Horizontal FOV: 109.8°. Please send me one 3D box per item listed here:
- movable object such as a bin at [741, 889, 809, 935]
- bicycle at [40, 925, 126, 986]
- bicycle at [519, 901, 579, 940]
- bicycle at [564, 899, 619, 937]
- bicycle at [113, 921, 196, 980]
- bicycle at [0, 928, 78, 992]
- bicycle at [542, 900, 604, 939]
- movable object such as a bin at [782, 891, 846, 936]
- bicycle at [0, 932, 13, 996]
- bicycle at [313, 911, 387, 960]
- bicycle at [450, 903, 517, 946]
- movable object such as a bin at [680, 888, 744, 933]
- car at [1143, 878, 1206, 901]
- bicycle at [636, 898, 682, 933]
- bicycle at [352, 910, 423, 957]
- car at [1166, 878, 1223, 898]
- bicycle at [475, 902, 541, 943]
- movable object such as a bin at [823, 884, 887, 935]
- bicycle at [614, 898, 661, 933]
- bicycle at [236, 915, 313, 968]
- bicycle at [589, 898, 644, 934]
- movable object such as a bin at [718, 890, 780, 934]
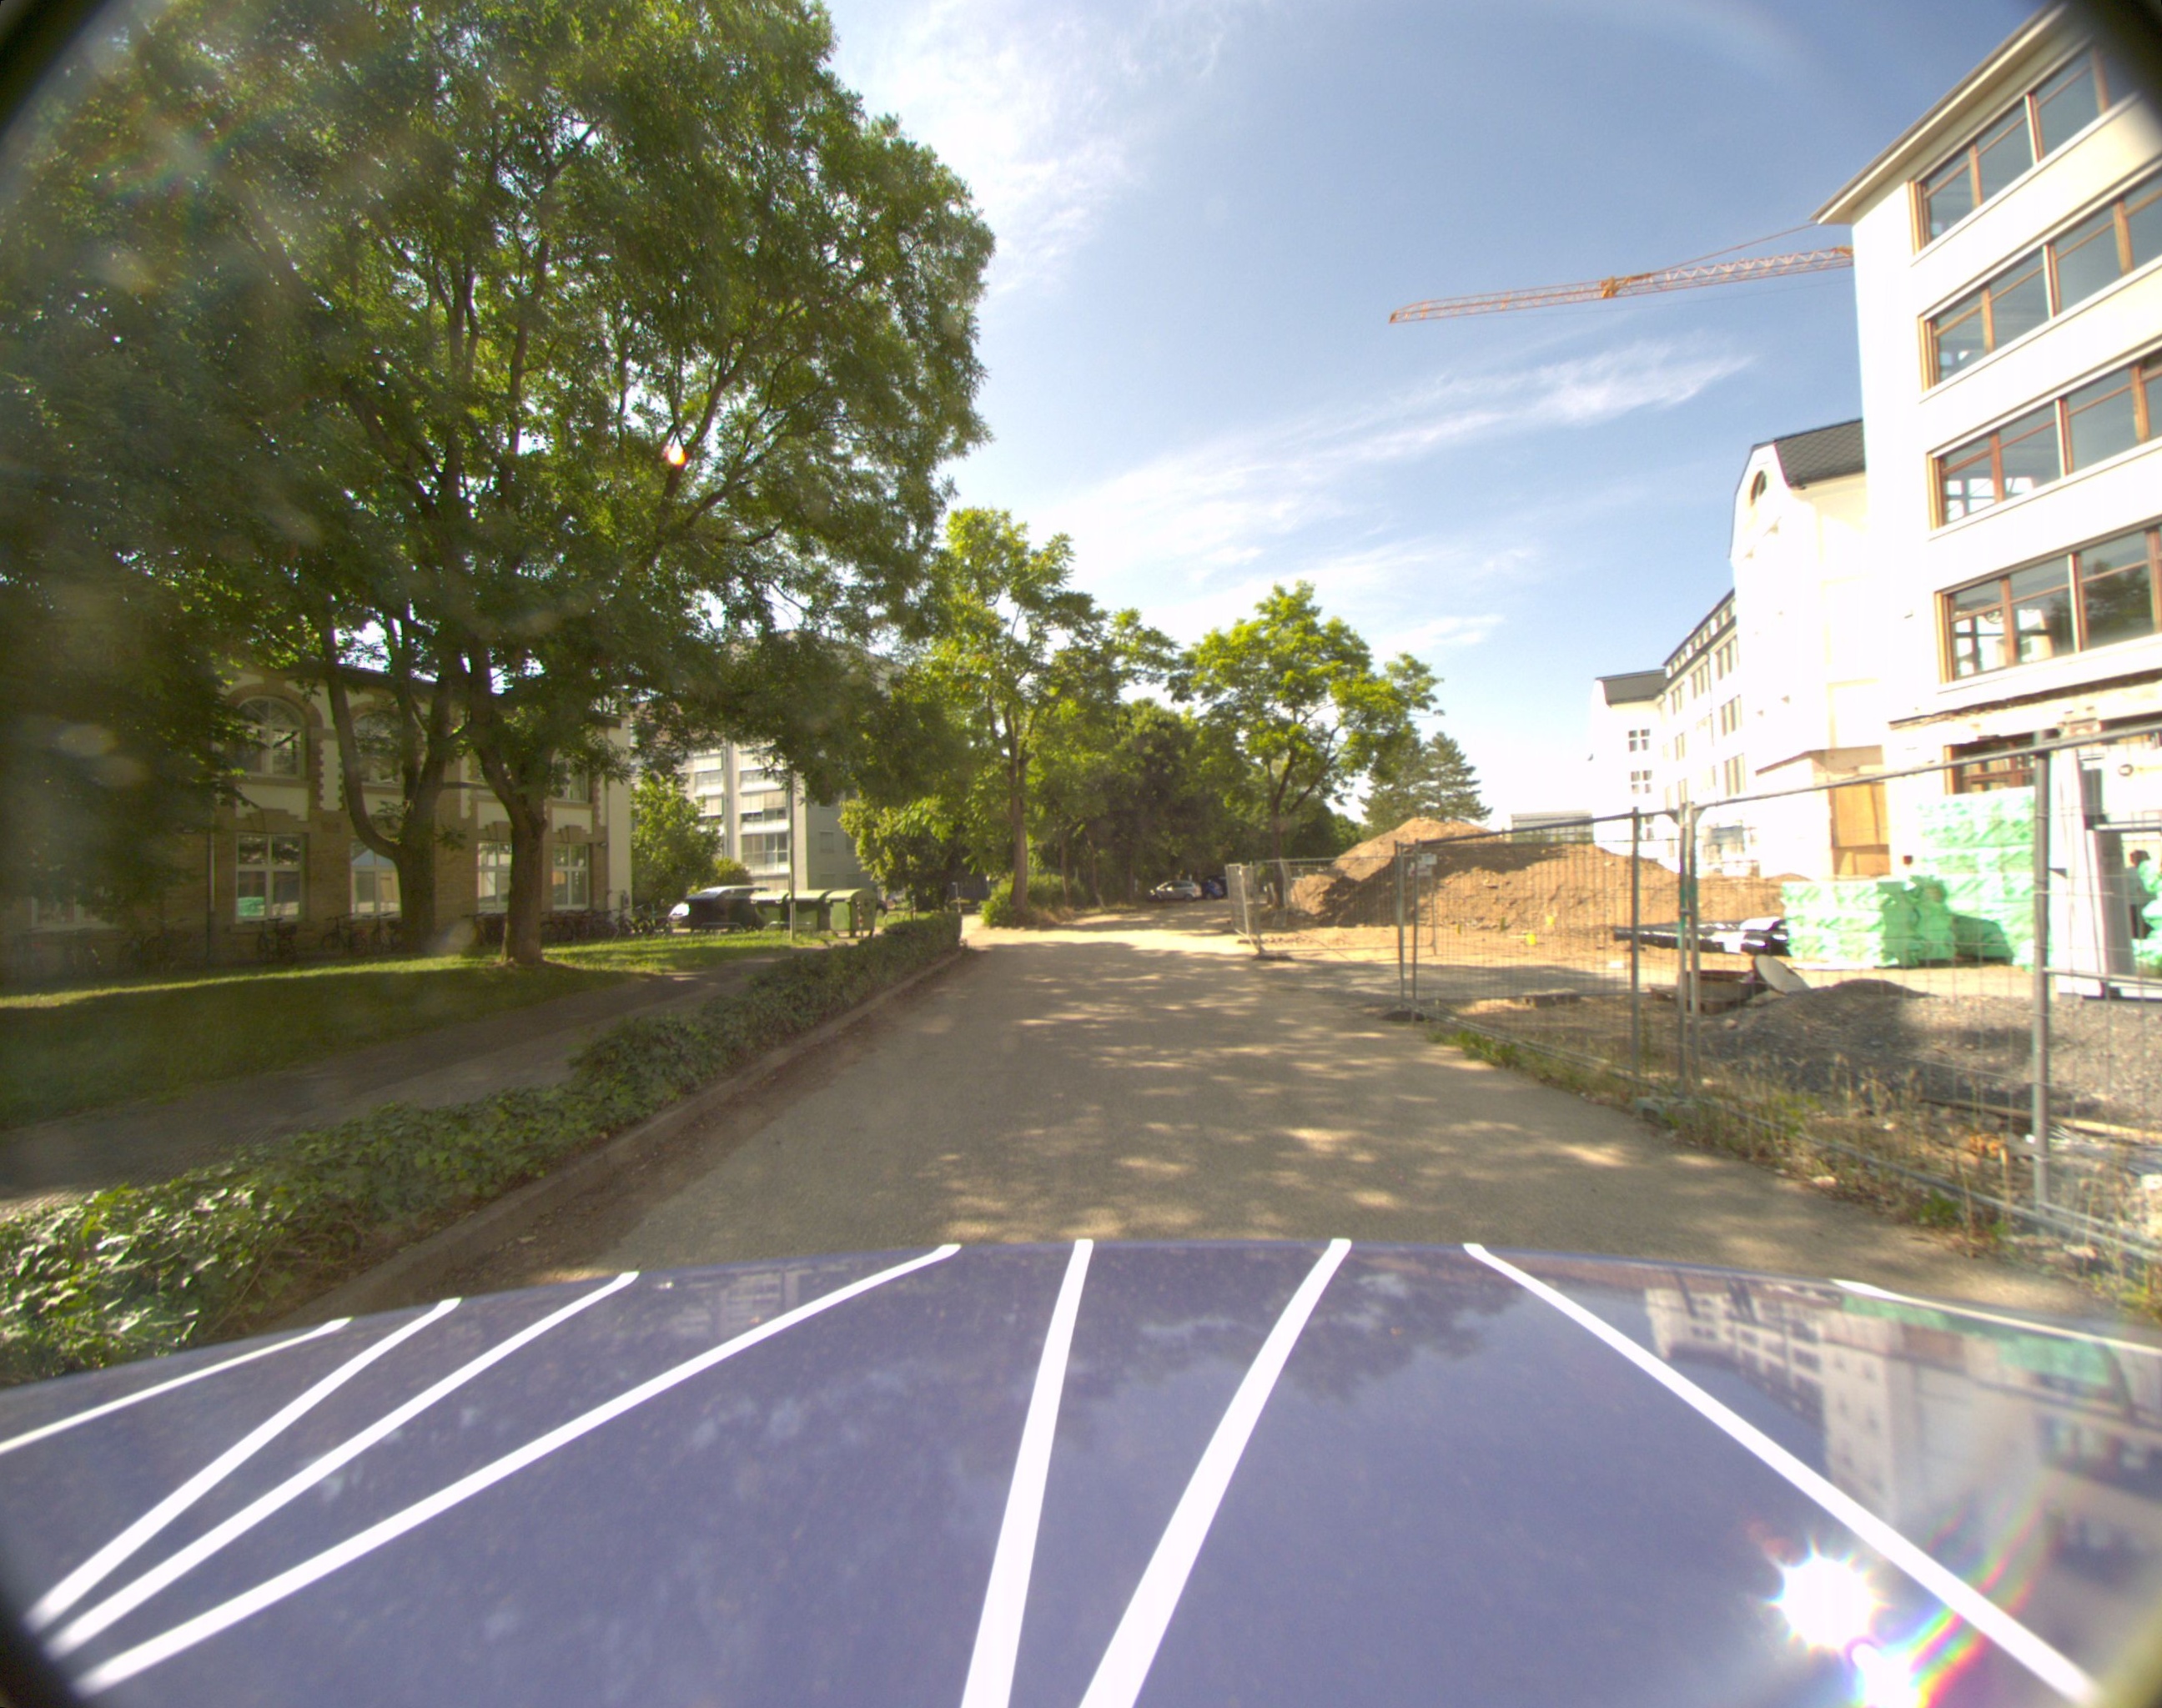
[{"bbox_3d":[-9.596,1.821,23.847,1.499,1.353,1.217,-2,-1,21],"label":"movable object such as a bin"},{"bbox_3d":[-20.309,2.041,15.456,2.097,1.154,0.589,-3,-1,24],"label":"bicycle"},{"bbox_3d":[-16.334,2.038,23.329,1.917,1.154,0.589,-3,-1,24],"label":"bicycle"},{"bbox_3d":[-15.829,2.067,24.555,1.909,1.154,0.495,-3,-1,24],"label":"bicycle"},{"bbox_3d":[-19.863,2.048,16.279,2.097,1.154,0.589,-3,-1,24],"label":"bicycle"},{"bbox_3d":[-20.456,2.042,14.837,2.097,1.154,0.589,-3,-1,24],"label":"bicycle"},{"bbox_3d":[-16.086,2.069,24.040,2.097,1.154,0.589,-3,-1,24],"label":"bicycle"},{"bbox_3d":[-8.177,1.810,23.293,1.352,1.292,1.217,-2,-1,21],"label":"movable object such as a bin"},{"bbox_3d":[-20.767,2.049,14.163,2.097,1.154,0.589,-3,-1,24],"label":"bicycle"},{"bbox_3d":[-18.424,2.038,19.136,2.097,1.154,0.589,-3,-1,24],"label":"bicycle"},{"bbox_3d":[-17.117,2.008,21.744,2.097,1.154,0.589,-3,-1,24],"label":"bicycle"},{"bbox_3d":[-12.293,1.882,25.349,1.433,1.401,1.252,-2,-1,20],"label":"movable object such as a bin"},{"bbox_3d":[6.656,2.503,53.951,3.991,1.499,2.003,-2,-2,19],"label":"car"},{"bbox_3d":[-14.633,2.134,26.323,1.940,1.154,0.558,-3,-1,34],"label":"bicycle"},{"bbox_3d":[-18.133,2.063,19.856,2.097,1.154,0.589,-3,-1,24],"label":"bicycle"},{"bbox_3d":[8.785,2.643,58.908,3.991,1.433,2.003,-2,-2,19],"label":"car"},{"bbox_3d":[-16.888,2.013,22.377,2.097,1.154,0.589,-3,-1,24],"label":"bicycle"},{"bbox_3d":[-6.786,1.652,22.822,1.389,1.454,1.218,-3,-1,36],"label":"movable object such as a bin"},{"bbox_3d":[-15.106,2.097,25.887,1.800,1.154,0.508,-3,-1,29],"label":"bicycle"},{"bbox_3d":[-19.026,2.046,17.910,2.097,1.154,0.589,-3,-1,24],"label":"bicycle"},{"bbox_3d":[-15.516,2.078,25.361,1.847,1.154,0.614,-3,-1,24],"label":"bicycle"},{"bbox_3d":[-10.821,1.886,24.799,1.349,1.341,1.217,-2,-1,21],"label":"movable object such as a bin"}]
